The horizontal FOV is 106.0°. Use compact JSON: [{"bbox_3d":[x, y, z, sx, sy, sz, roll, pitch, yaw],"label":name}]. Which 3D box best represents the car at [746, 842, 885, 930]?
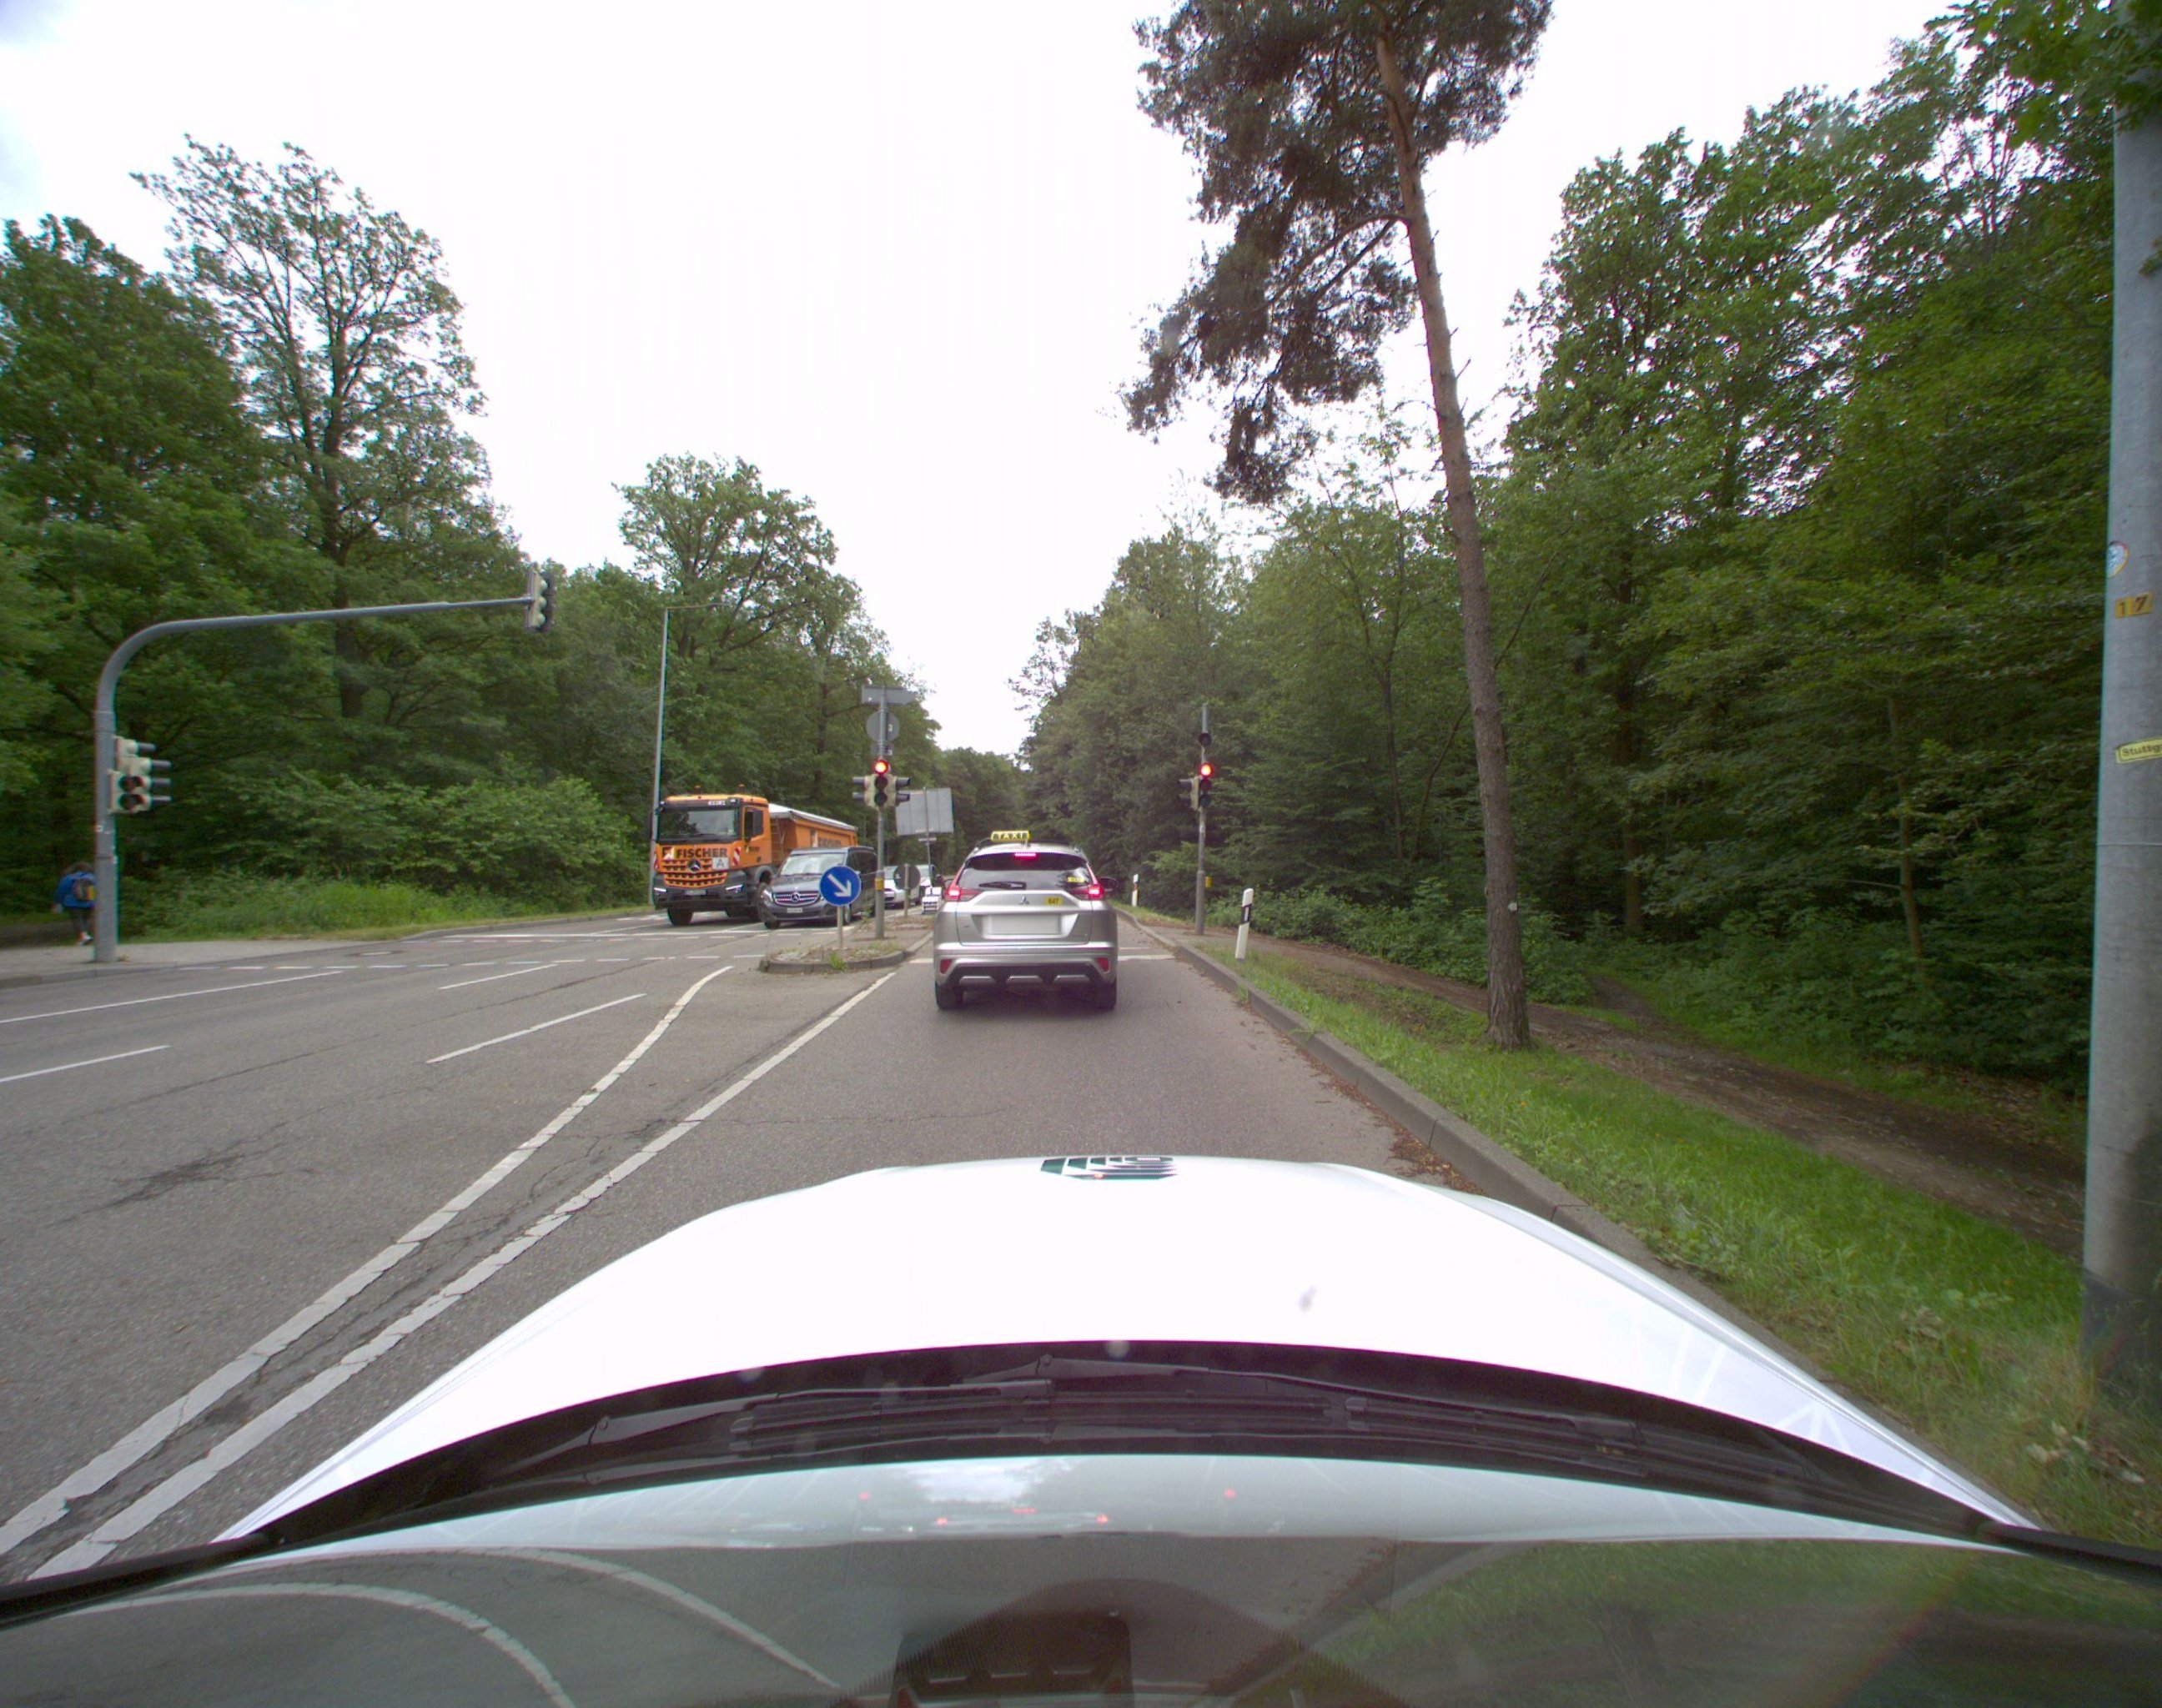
[{"bbox_3d":[-6.493,0.746,20.562,1.988,1.894,4.835,-2,-1,-2],"label":"car"}]

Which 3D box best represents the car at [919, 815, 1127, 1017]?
[{"bbox_3d":[-0.627,0.556,9.246,1.843,1.780,3.995,0,0,-4],"label":"car"}]

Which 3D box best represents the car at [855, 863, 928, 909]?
[{"bbox_3d":[-6.400,1.054,27.847,1.607,1.321,3.720,-3,0,-1],"label":"car"}]

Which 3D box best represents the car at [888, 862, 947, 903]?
[{"bbox_3d":[-6.715,1.138,33.801,1.807,1.508,3.717,-3,-1,-3],"label":"car"}]

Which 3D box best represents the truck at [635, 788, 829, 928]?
[{"bbox_3d":[-9.555,0.167,23.292,2.733,3.318,7.150,-2,-1,-3],"label":"truck"}]

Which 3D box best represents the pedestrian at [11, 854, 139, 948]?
[{"bbox_3d":[-19.004,0.858,15.414,1.042,1.649,1.070,3,1,3],"label":"pedestrian"}]

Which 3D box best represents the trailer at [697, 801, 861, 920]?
[{"bbox_3d":[-9.788,0.256,27.563,2.733,3.318,8.558,-2,-1,-3],"label":"trailer"}]
